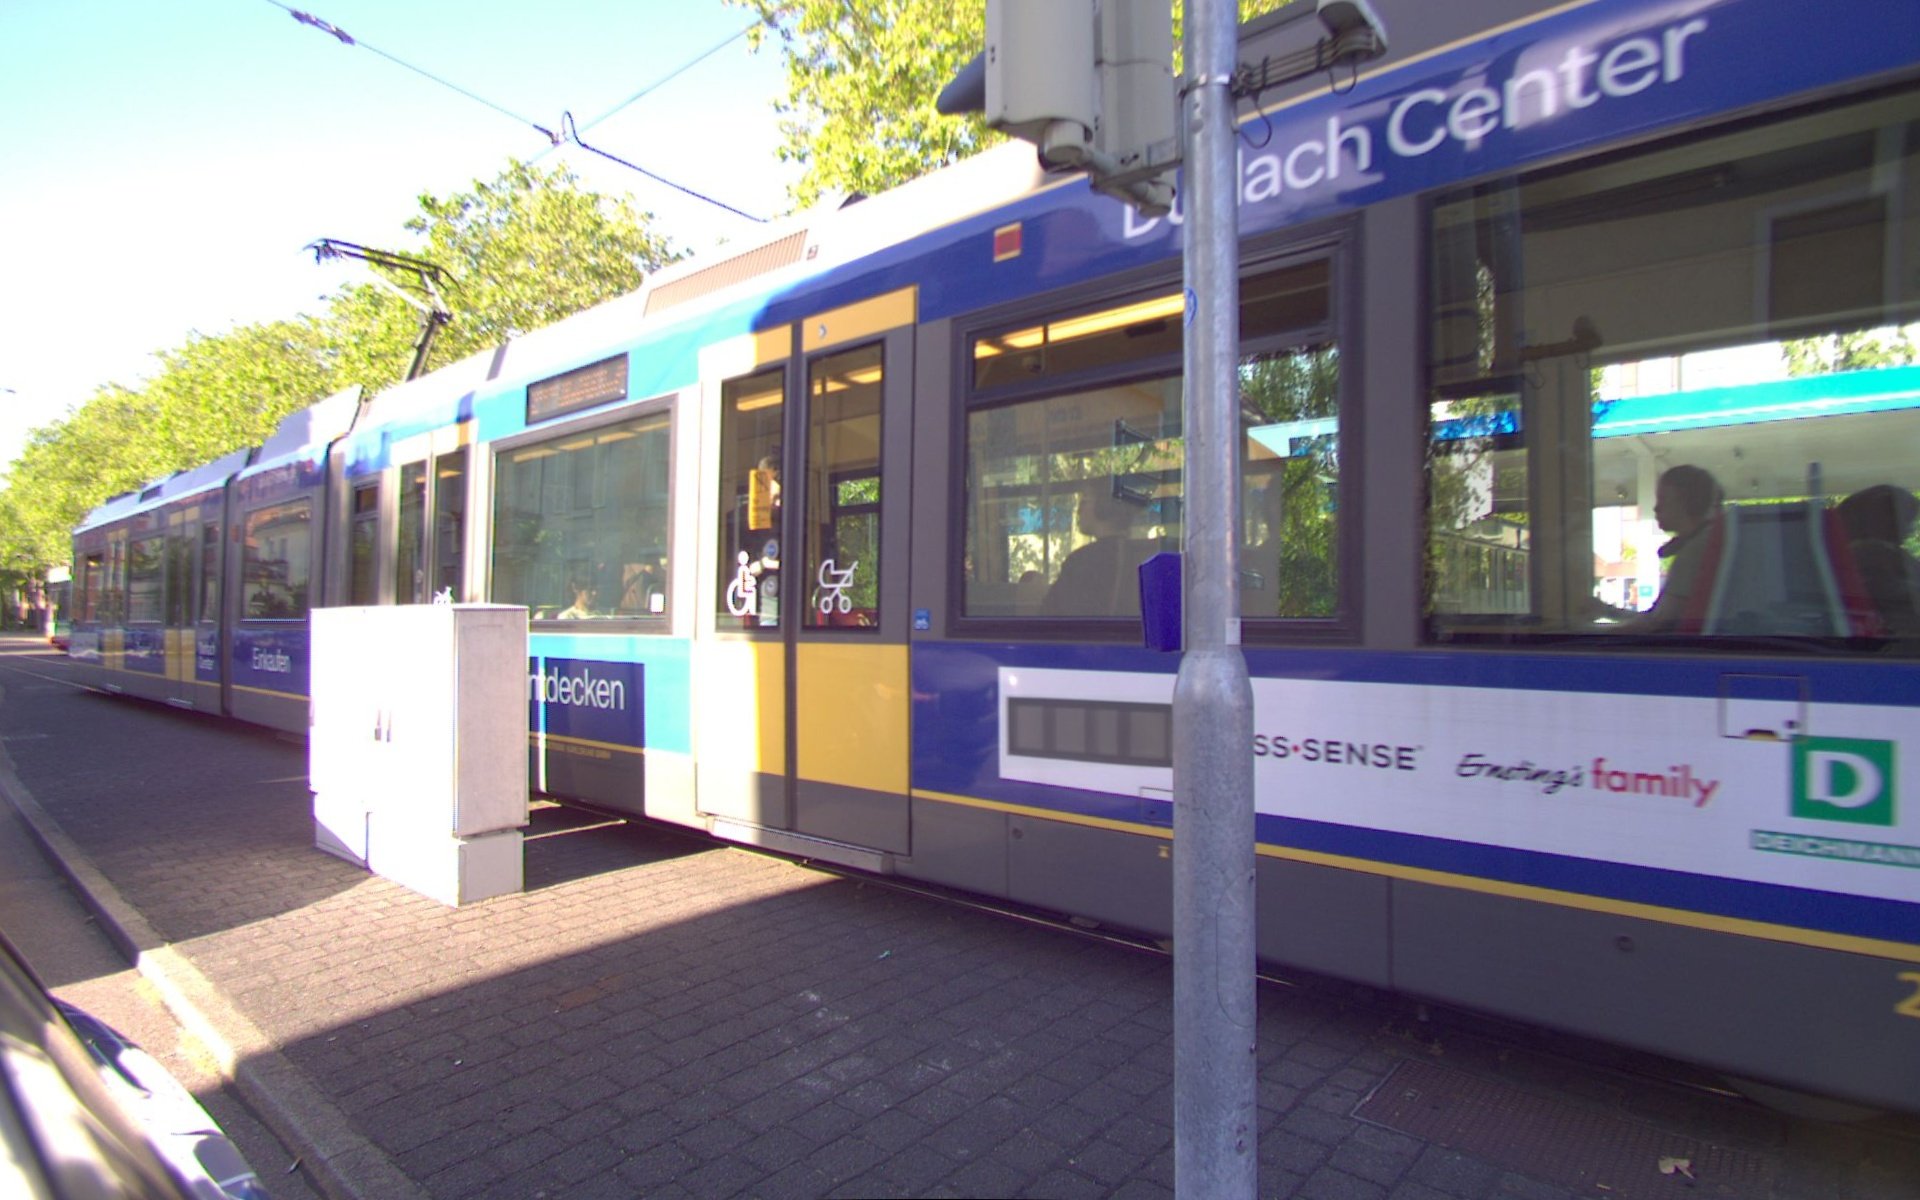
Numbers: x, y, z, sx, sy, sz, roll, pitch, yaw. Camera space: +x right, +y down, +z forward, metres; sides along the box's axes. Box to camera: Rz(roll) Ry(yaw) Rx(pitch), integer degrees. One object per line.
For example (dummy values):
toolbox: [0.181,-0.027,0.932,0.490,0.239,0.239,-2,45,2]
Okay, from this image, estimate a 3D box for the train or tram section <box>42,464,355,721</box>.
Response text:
train or tram section: [-13.448,-0.019,17.550,7.958,3.526,2.785,-2,-2,41]

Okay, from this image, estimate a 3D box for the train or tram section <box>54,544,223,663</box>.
train or tram section: [-27.952,0.145,34.197,10.179,3.503,2.806,-1,0,41]

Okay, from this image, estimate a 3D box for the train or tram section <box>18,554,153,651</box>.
train or tram section: [-35.589,0.117,41.002,10.179,3.503,2.806,-1,0,41]

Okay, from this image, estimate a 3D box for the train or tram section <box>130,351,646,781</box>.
train or tram section: [-7.304,-0.192,12.150,8.458,3.526,2.785,-2,-2,41]

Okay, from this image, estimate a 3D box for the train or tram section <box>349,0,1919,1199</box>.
train or tram section: [0.310,-0.406,5.407,12.026,3.526,2.741,-2,-2,42]
